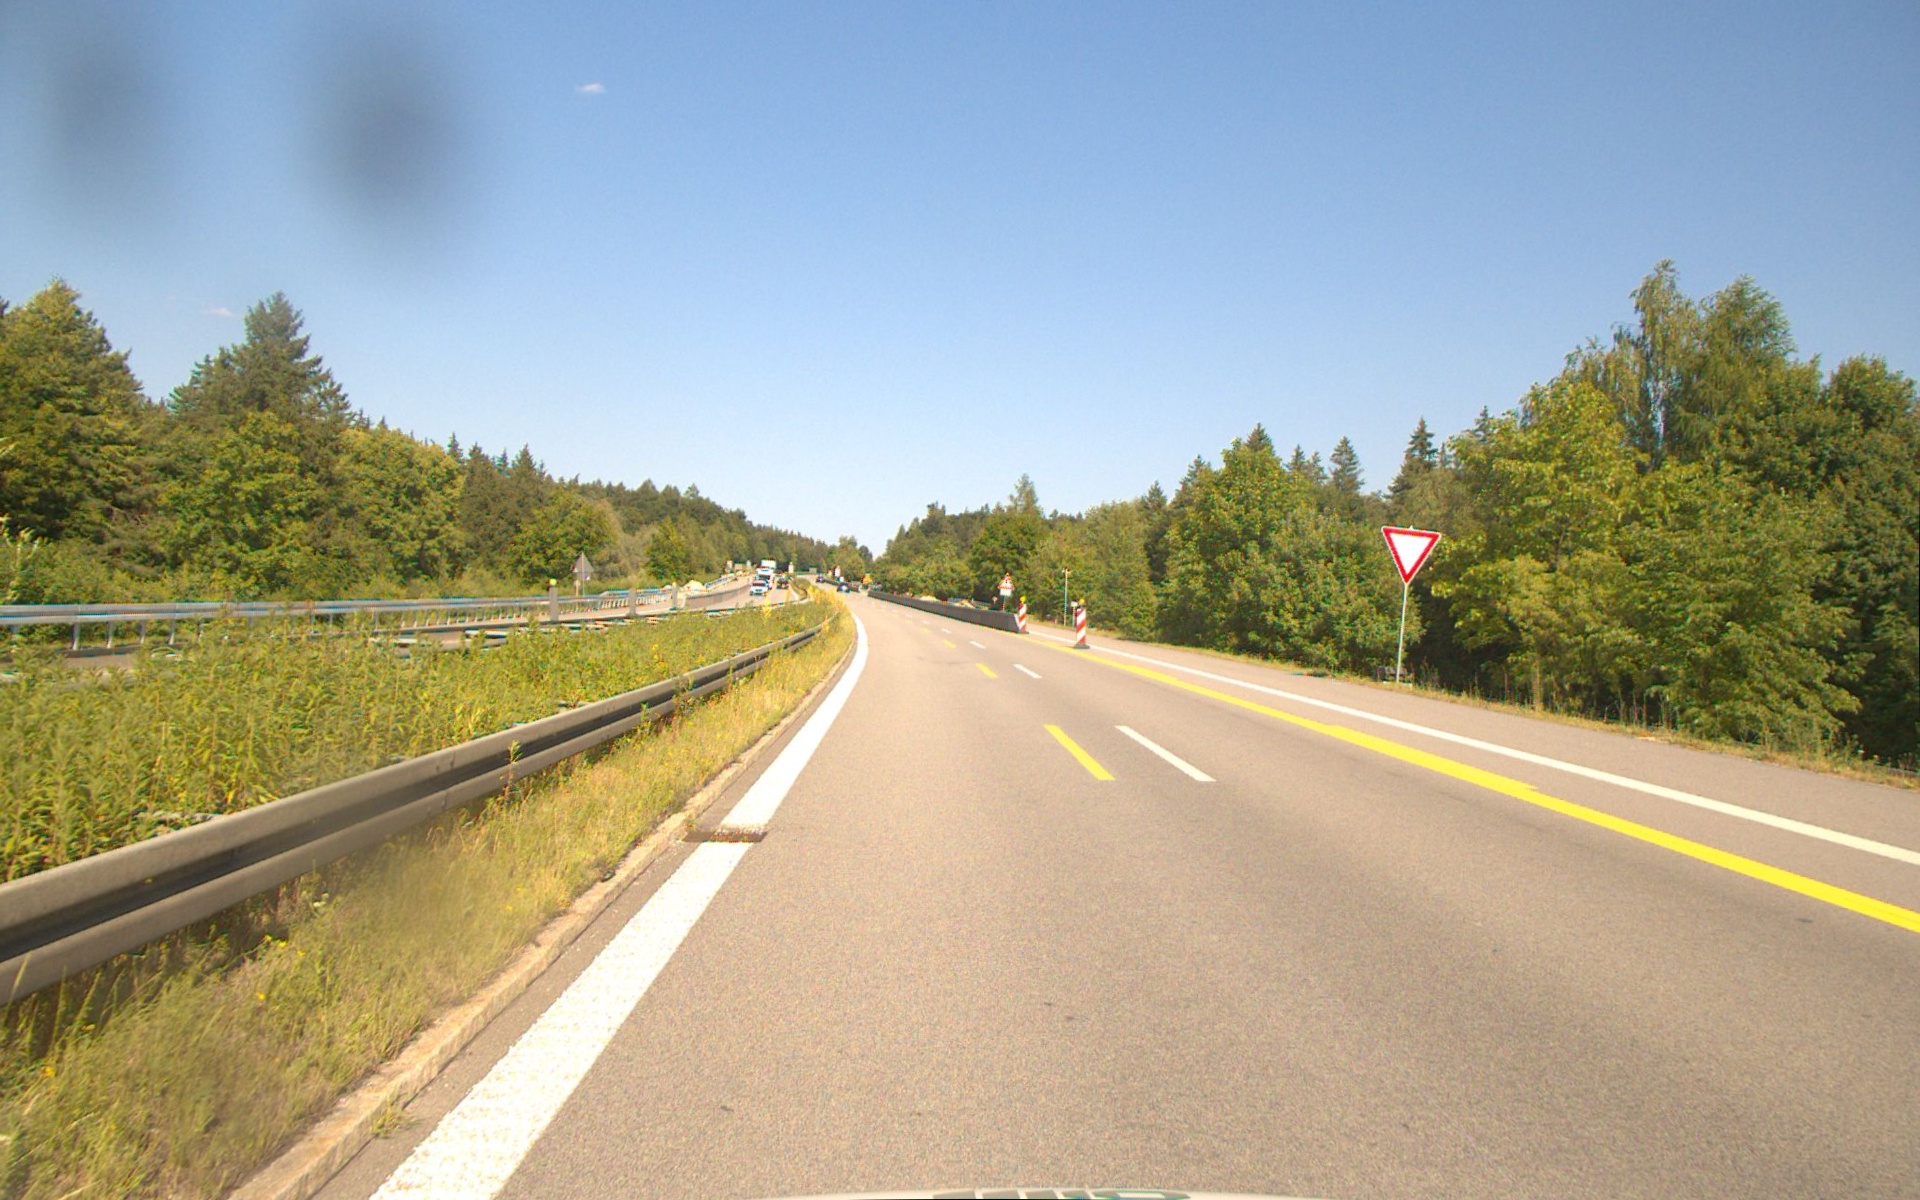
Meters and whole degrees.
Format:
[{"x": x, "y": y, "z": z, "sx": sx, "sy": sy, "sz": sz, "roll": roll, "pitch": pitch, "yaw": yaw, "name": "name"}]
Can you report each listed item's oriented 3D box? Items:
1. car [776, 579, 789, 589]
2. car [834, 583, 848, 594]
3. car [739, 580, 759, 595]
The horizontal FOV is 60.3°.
[{"x": -26.263, "y": -2.361, "z": 244.906, "sx": 1.708, "sy": 1.556, "sz": 3.996, "roll": 0, "pitch": 1, "yaw": -5, "name": "car"}, {"x": -17.564, "y": -1.671, "z": 243.993, "sx": 1.710, "sy": 1.491, "sz": 4.288, "roll": 3, "pitch": 1, "yaw": -6, "name": "car"}, {"x": -21.746, "y": -1.274, "z": 170.837, "sx": 1.847, "sy": 1.457, "sz": 4.978, "roll": 2, "pitch": 0, "yaw": -6, "name": "car"}]
